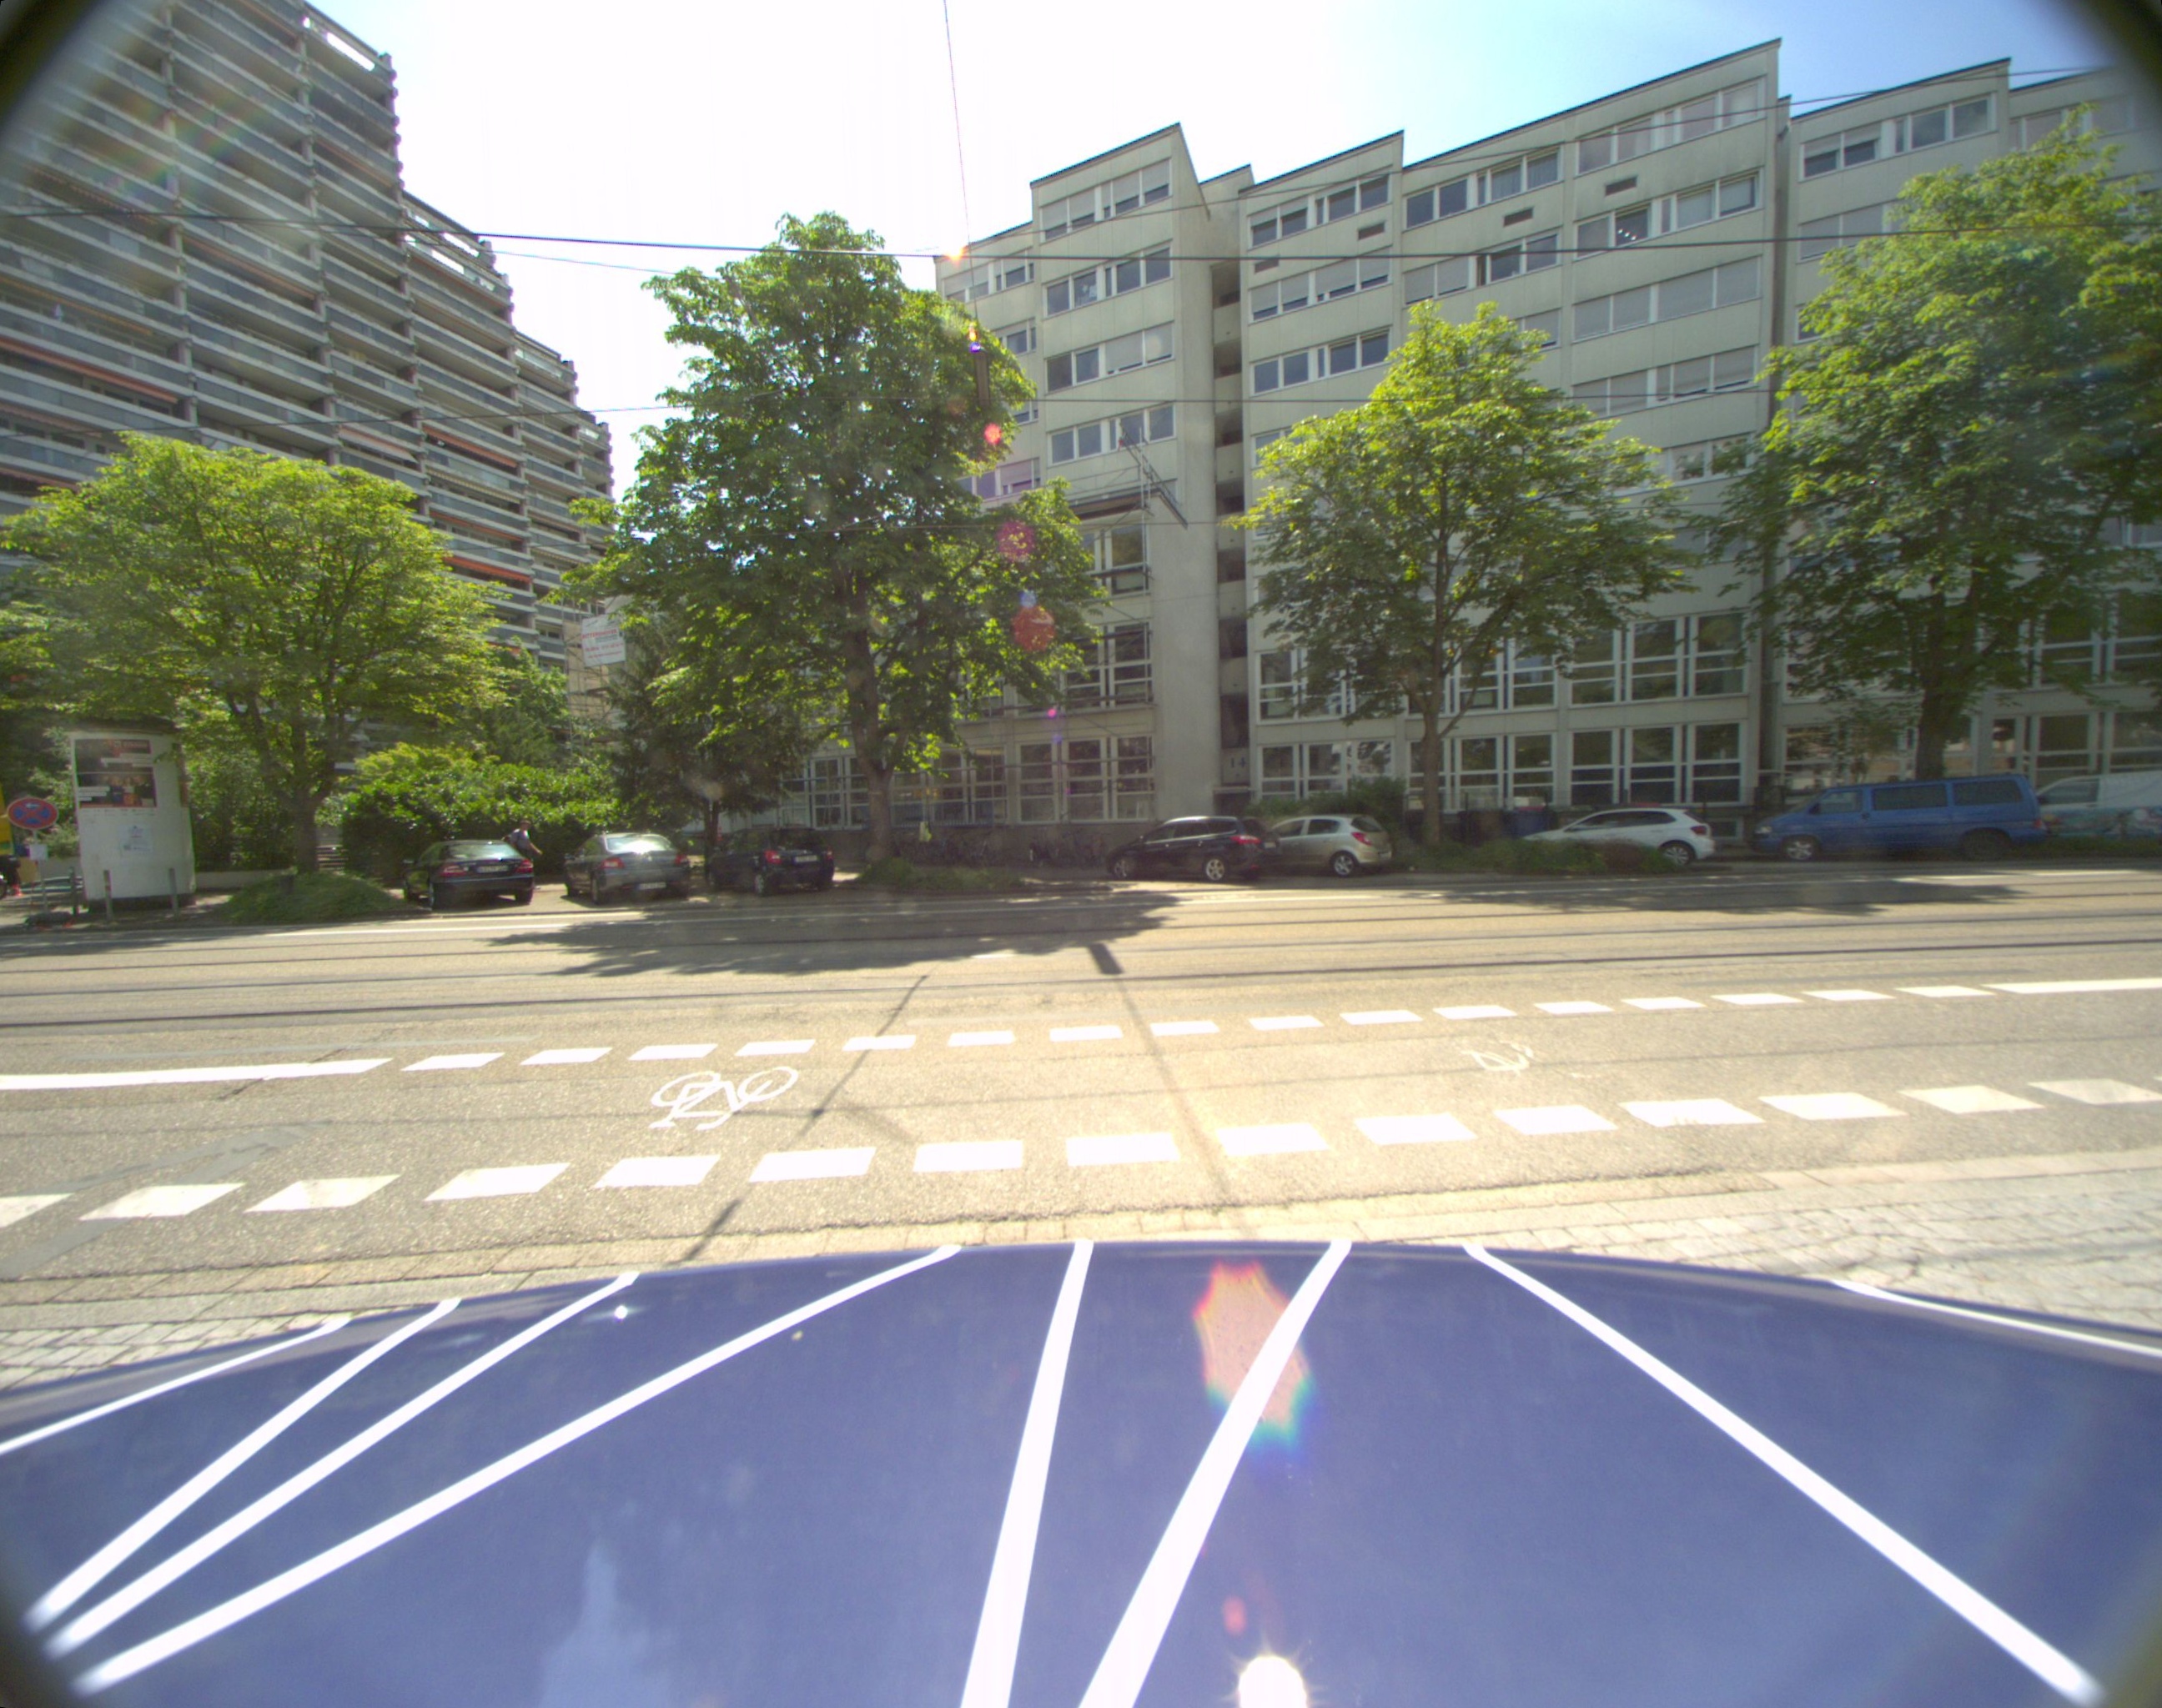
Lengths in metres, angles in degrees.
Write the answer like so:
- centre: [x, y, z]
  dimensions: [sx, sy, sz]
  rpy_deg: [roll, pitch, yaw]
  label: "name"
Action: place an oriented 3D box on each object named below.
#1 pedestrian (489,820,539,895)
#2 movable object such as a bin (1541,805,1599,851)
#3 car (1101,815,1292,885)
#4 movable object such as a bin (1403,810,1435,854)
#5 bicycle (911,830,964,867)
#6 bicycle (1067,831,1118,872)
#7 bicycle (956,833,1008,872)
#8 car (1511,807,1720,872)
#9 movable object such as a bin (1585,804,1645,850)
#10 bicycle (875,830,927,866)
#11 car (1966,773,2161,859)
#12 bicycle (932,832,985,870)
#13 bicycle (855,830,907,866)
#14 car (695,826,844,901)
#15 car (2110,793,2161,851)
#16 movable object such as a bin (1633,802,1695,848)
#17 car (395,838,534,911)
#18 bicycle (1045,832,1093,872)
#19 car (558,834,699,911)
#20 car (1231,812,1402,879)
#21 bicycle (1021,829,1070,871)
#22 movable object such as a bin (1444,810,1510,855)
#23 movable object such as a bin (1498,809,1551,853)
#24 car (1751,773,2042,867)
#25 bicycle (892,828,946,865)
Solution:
- centre: [-14.478, 0.085, 19.412]
  dimensions: [0.576, 1.864, 0.716]
  rpy_deg: [-1, 3, 11]
  label: "pedestrian"
- centre: [15.380, -0.811, 23.938]
  dimensions: [1.180, 1.391, 1.038]
  rpy_deg: [-2, 2, 5]
  label: "movable object such as a bin"
- centre: [2.674, -0.127, 18.148]
  dimensions: [4.185, 1.462, 1.757]
  rpy_deg: [1, 4, 41]
  label: "car"
- centre: [11.076, -0.715, 24.920]
  dimensions: [0.802, 1.397, 0.767]
  rpy_deg: [-1, 3, 11]
  label: "movable object such as a bin"
- centre: [-4.684, -0.187, 24.991]
  dimensions: [0.567, 1.124, 1.946]
  rpy_deg: [0, 3, 29]
  label: "bicycle"
- centre: [0.377, -0.095, 23.179]
  dimensions: [0.567, 1.124, 2.238]
  rpy_deg: [0, 3, 29]
  label: "bicycle"
- centre: [-3.131, -0.069, 24.136]
  dimensions: [0.567, 1.124, 1.946]
  rpy_deg: [0, 3, 29]
  label: "bicycle"
- centre: [12.827, -0.369, 18.366]
  dimensions: [3.969, 1.406, 1.718]
  rpy_deg: [1, 4, 41]
  label: "car"
- centre: [16.797, -0.854, 23.927]
  dimensions: [1.180, 1.391, 1.038]
  rpy_deg: [-2, 2, 5]
  label: "movable object such as a bin"
- centre: [-6.044, -0.234, 25.665]
  dimensions: [0.567, 1.124, 1.930]
  rpy_deg: [0, 3, 25]
  label: "bicycle"
- centre: [25.622, -0.948, 18.918]
  dimensions: [2.003, 2.003, 4.617]
  rpy_deg: [-4, 4, -40]
  label: "car"
- centre: [-3.897, -0.106, 24.379]
  dimensions: [0.567, 1.124, 1.946]
  rpy_deg: [0, 3, 29]
  label: "bicycle"
- centre: [-6.792, -0.211, 25.890]
  dimensions: [0.567, 1.124, 1.930]
  rpy_deg: [0, 3, 25]
  label: "bicycle"
- centre: [-7.142, 0.160, 17.307]
  dimensions: [3.565, 1.508, 1.653]
  rpy_deg: [1, 4, 41]
  label: "car"
- centre: [29.152, -0.838, 19.008]
  dimensions: [1.673, 1.478, 3.988]
  rpy_deg: [-4, 3, -37]
  label: "car"
- centre: [18.327, -0.901, 23.909]
  dimensions: [1.180, 1.391, 1.038]
  rpy_deg: [-2, 2, 5]
  label: "movable object such as a bin"
- centre: [-13.773, 0.375, 16.905]
  dimensions: [4.010, 1.365, 1.633]
  rpy_deg: [1, 4, 41]
  label: "car"
- centre: [-0.344, -0.079, 23.605]
  dimensions: [0.567, 1.124, 1.946]
  rpy_deg: [0, 3, 29]
  label: "bicycle"
- centre: [-10.227, 0.320, 17.036]
  dimensions: [1.823, 1.455, 4.010]
  rpy_deg: [-4, 4, -43]
  label: "car"
- centre: [5.648, -0.235, 18.383]
  dimensions: [3.529, 1.454, 1.757]
  rpy_deg: [1, 4, 41]
  label: "car"
- centre: [-1.098, -0.145, 23.883]
  dimensions: [0.567, 1.231, 1.946]
  rpy_deg: [0, 3, 29]
  label: "bicycle"
- centre: [12.286, -0.670, 23.627]
  dimensions: [1.451, 1.323, 1.126]
  rpy_deg: [-2, 2, -1]
  label: "movable object such as a bin"
- centre: [13.856, -0.723, 23.757]
  dimensions: [1.076, 1.323, 0.971]
  rpy_deg: [-2, 2, -1]
  label: "movable object such as a bin"
- centre: [19.476, -0.794, 18.551]
  dimensions: [4.617, 2.003, 2.003]
  rpy_deg: [1, 4, 42]
  label: "car"
- centre: [-5.368, -0.263, 25.296]
  dimensions: [0.567, 1.124, 1.930]
  rpy_deg: [0, 3, 29]
  label: "bicycle"
